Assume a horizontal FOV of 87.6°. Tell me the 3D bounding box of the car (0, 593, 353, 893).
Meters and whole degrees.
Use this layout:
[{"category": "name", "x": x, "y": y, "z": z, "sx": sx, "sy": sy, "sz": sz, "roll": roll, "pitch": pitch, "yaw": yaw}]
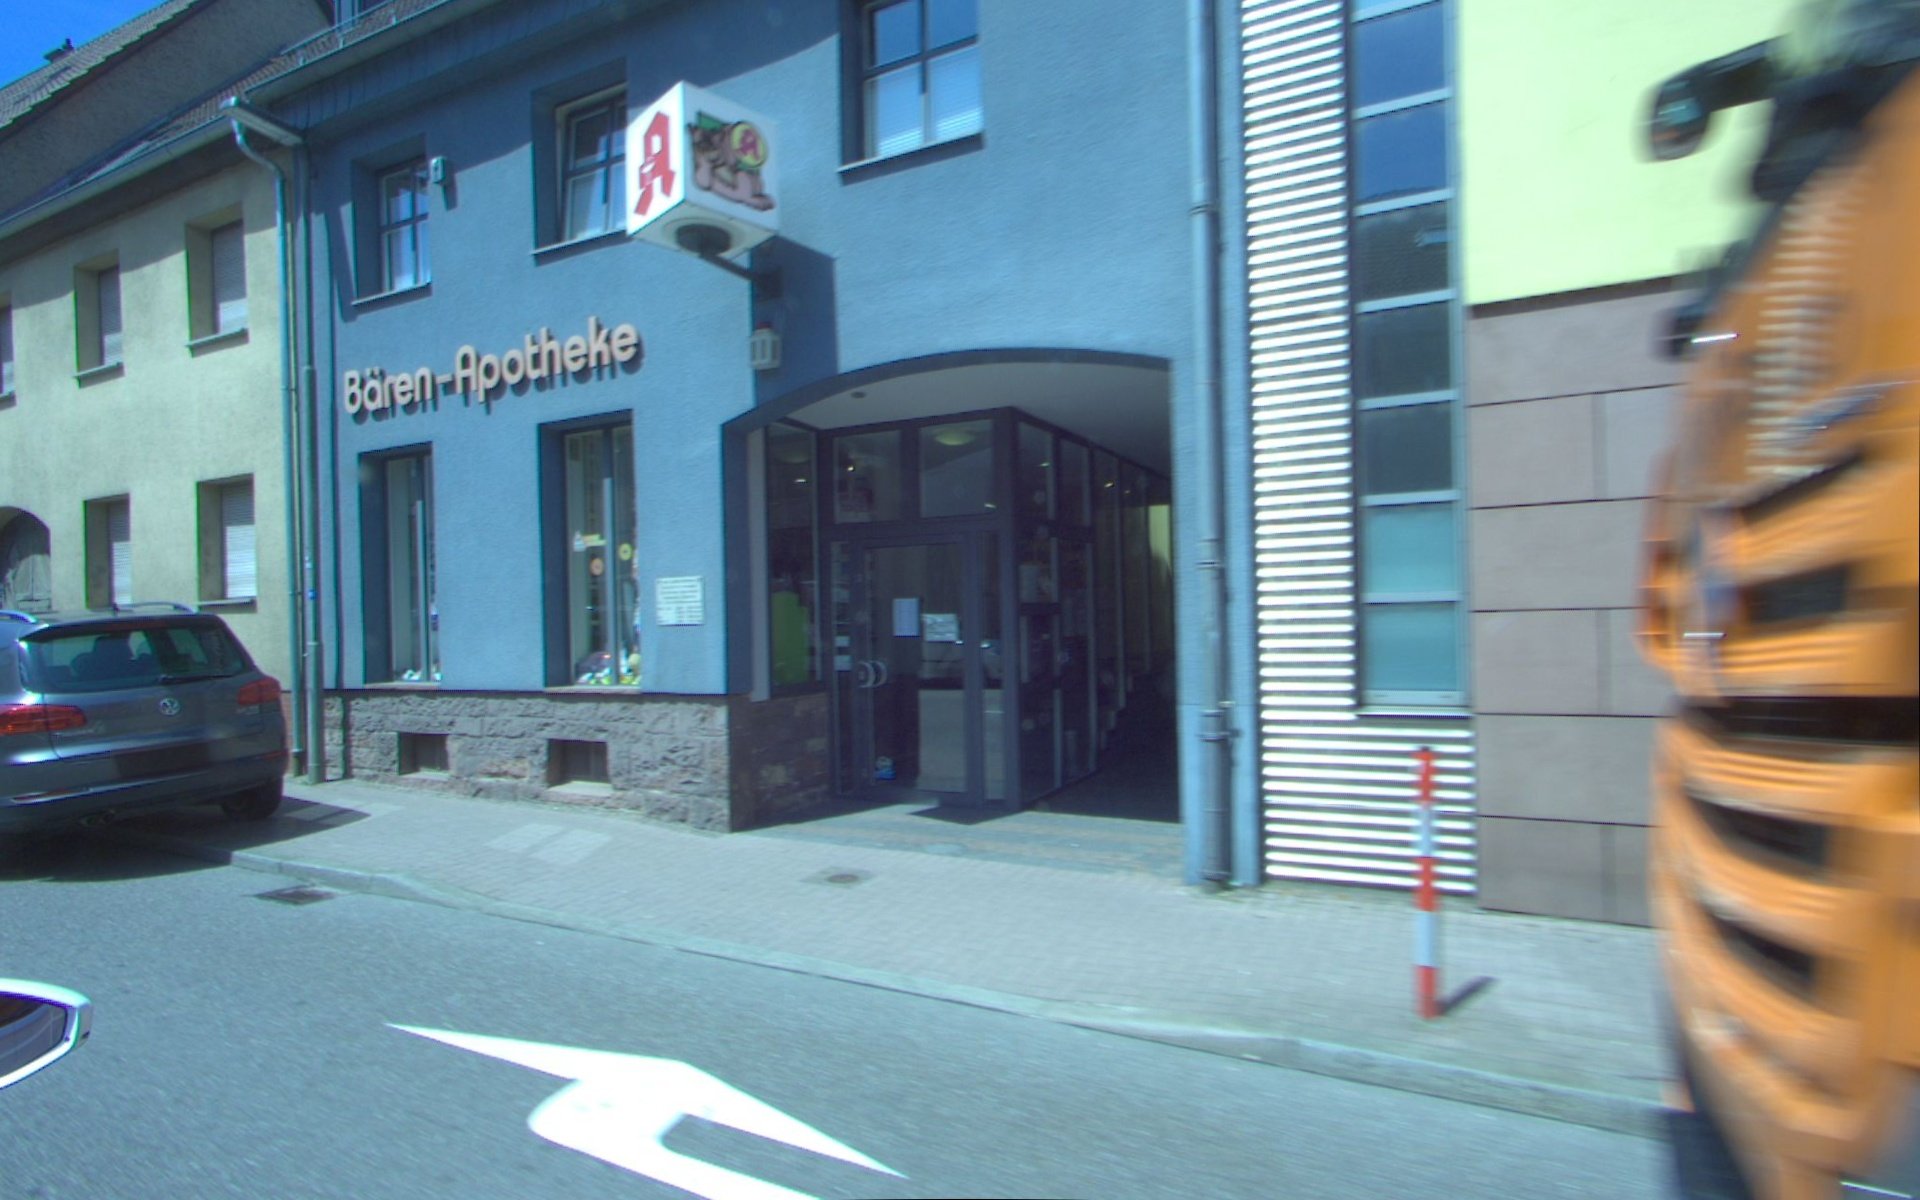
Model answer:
[{"category": "car", "x": -6.860, "y": 0.872, "z": 7.761, "sx": 4.040, "sy": 1.732, "sz": 1.990, "roll": -1, "pitch": 1, "yaw": 31}]
